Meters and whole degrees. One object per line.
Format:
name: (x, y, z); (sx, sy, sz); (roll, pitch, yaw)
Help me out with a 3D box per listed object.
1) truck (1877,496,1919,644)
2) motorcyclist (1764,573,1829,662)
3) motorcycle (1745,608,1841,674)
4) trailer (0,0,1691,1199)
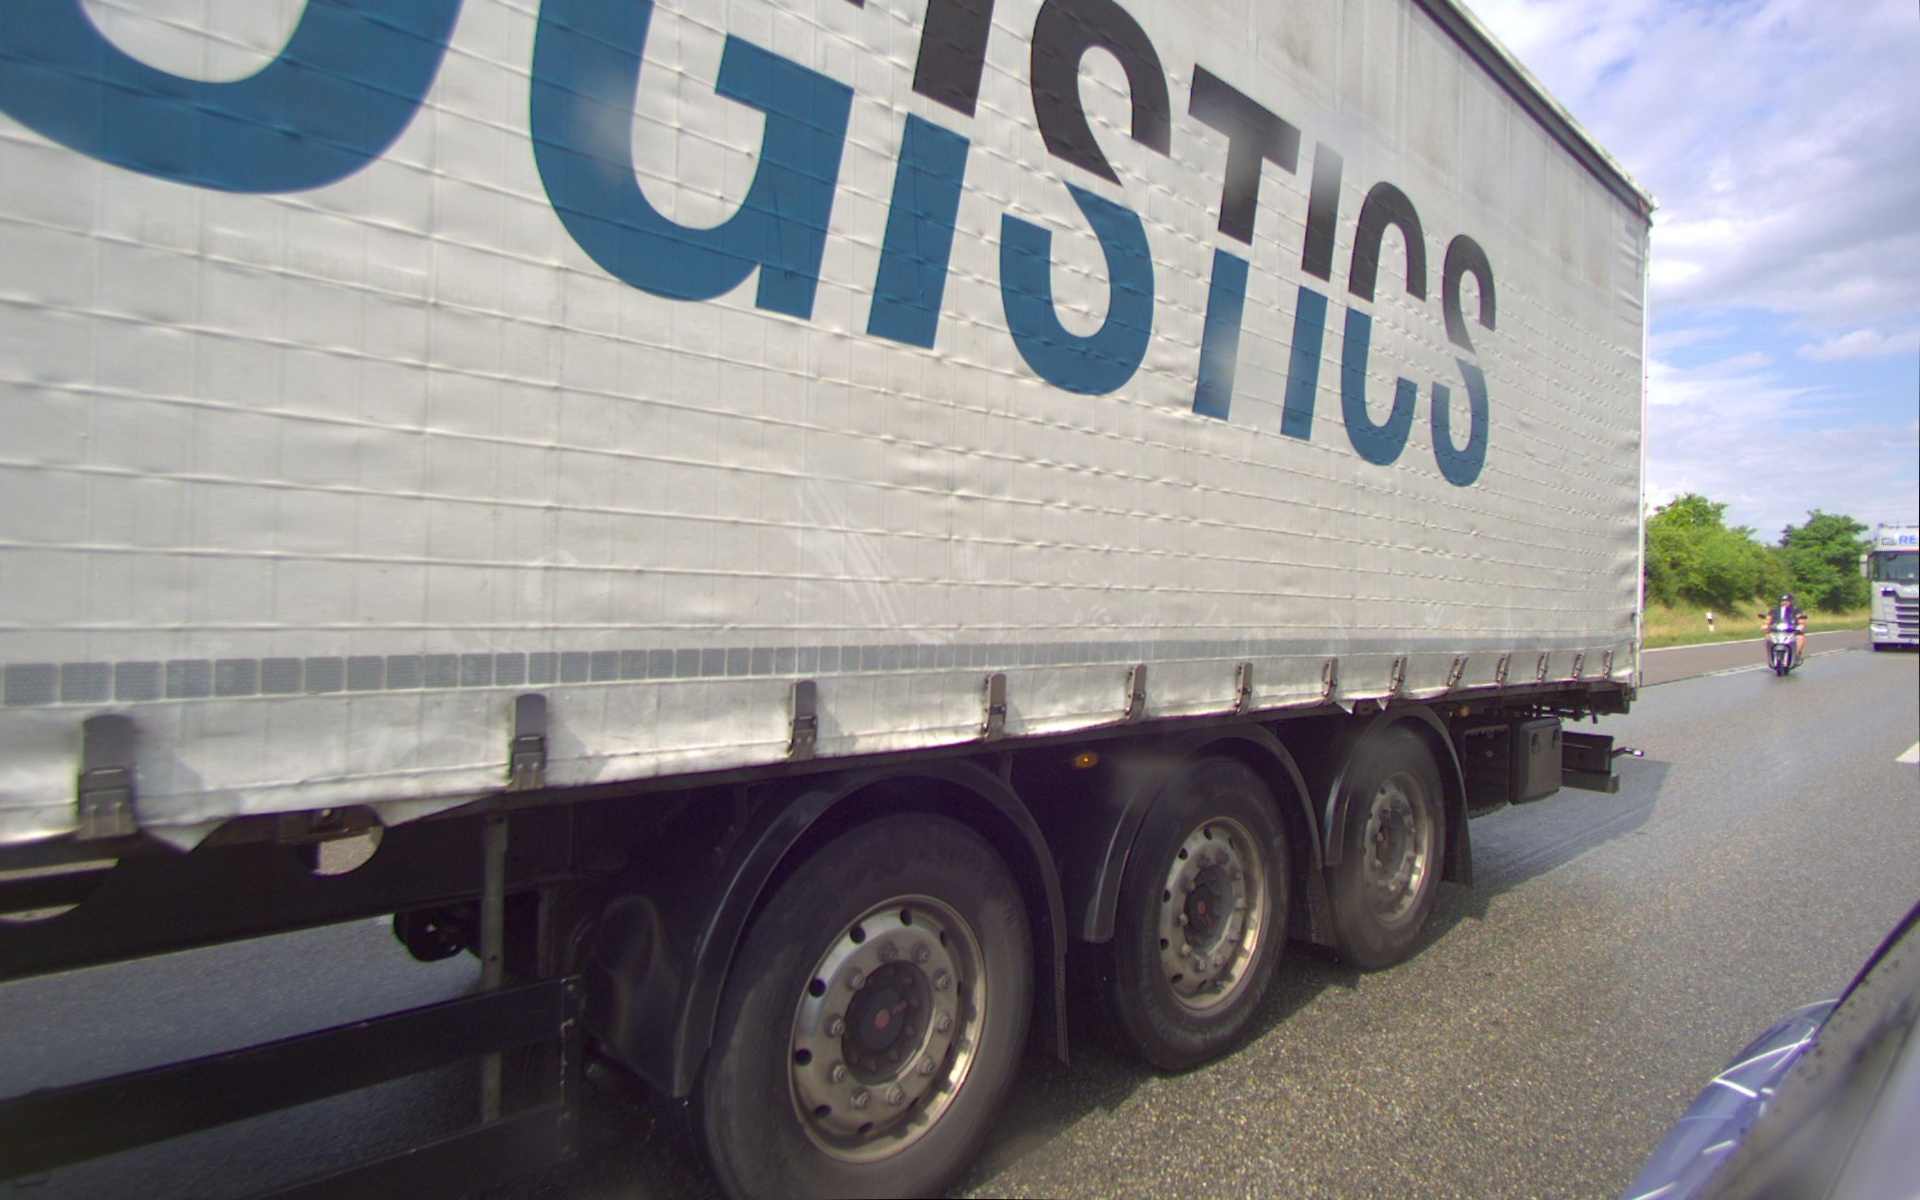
truck: (30.715, -0.902, 31.648); (6.772, 4.328, 2.645); (-1, 0, -45)
motorcyclist: (16.698, 0.329, 20.199); (0.984, 1.728, 0.882); (0, 0, -43)
motorcycle: (16.813, 0.772, 20.381); (3.142, 1.163, 1.185); (-1, 1, -45)
trailer: (-1.807, -0.590, 2.725); (13.885, 3.948, 3.288); (0, 0, -42)
